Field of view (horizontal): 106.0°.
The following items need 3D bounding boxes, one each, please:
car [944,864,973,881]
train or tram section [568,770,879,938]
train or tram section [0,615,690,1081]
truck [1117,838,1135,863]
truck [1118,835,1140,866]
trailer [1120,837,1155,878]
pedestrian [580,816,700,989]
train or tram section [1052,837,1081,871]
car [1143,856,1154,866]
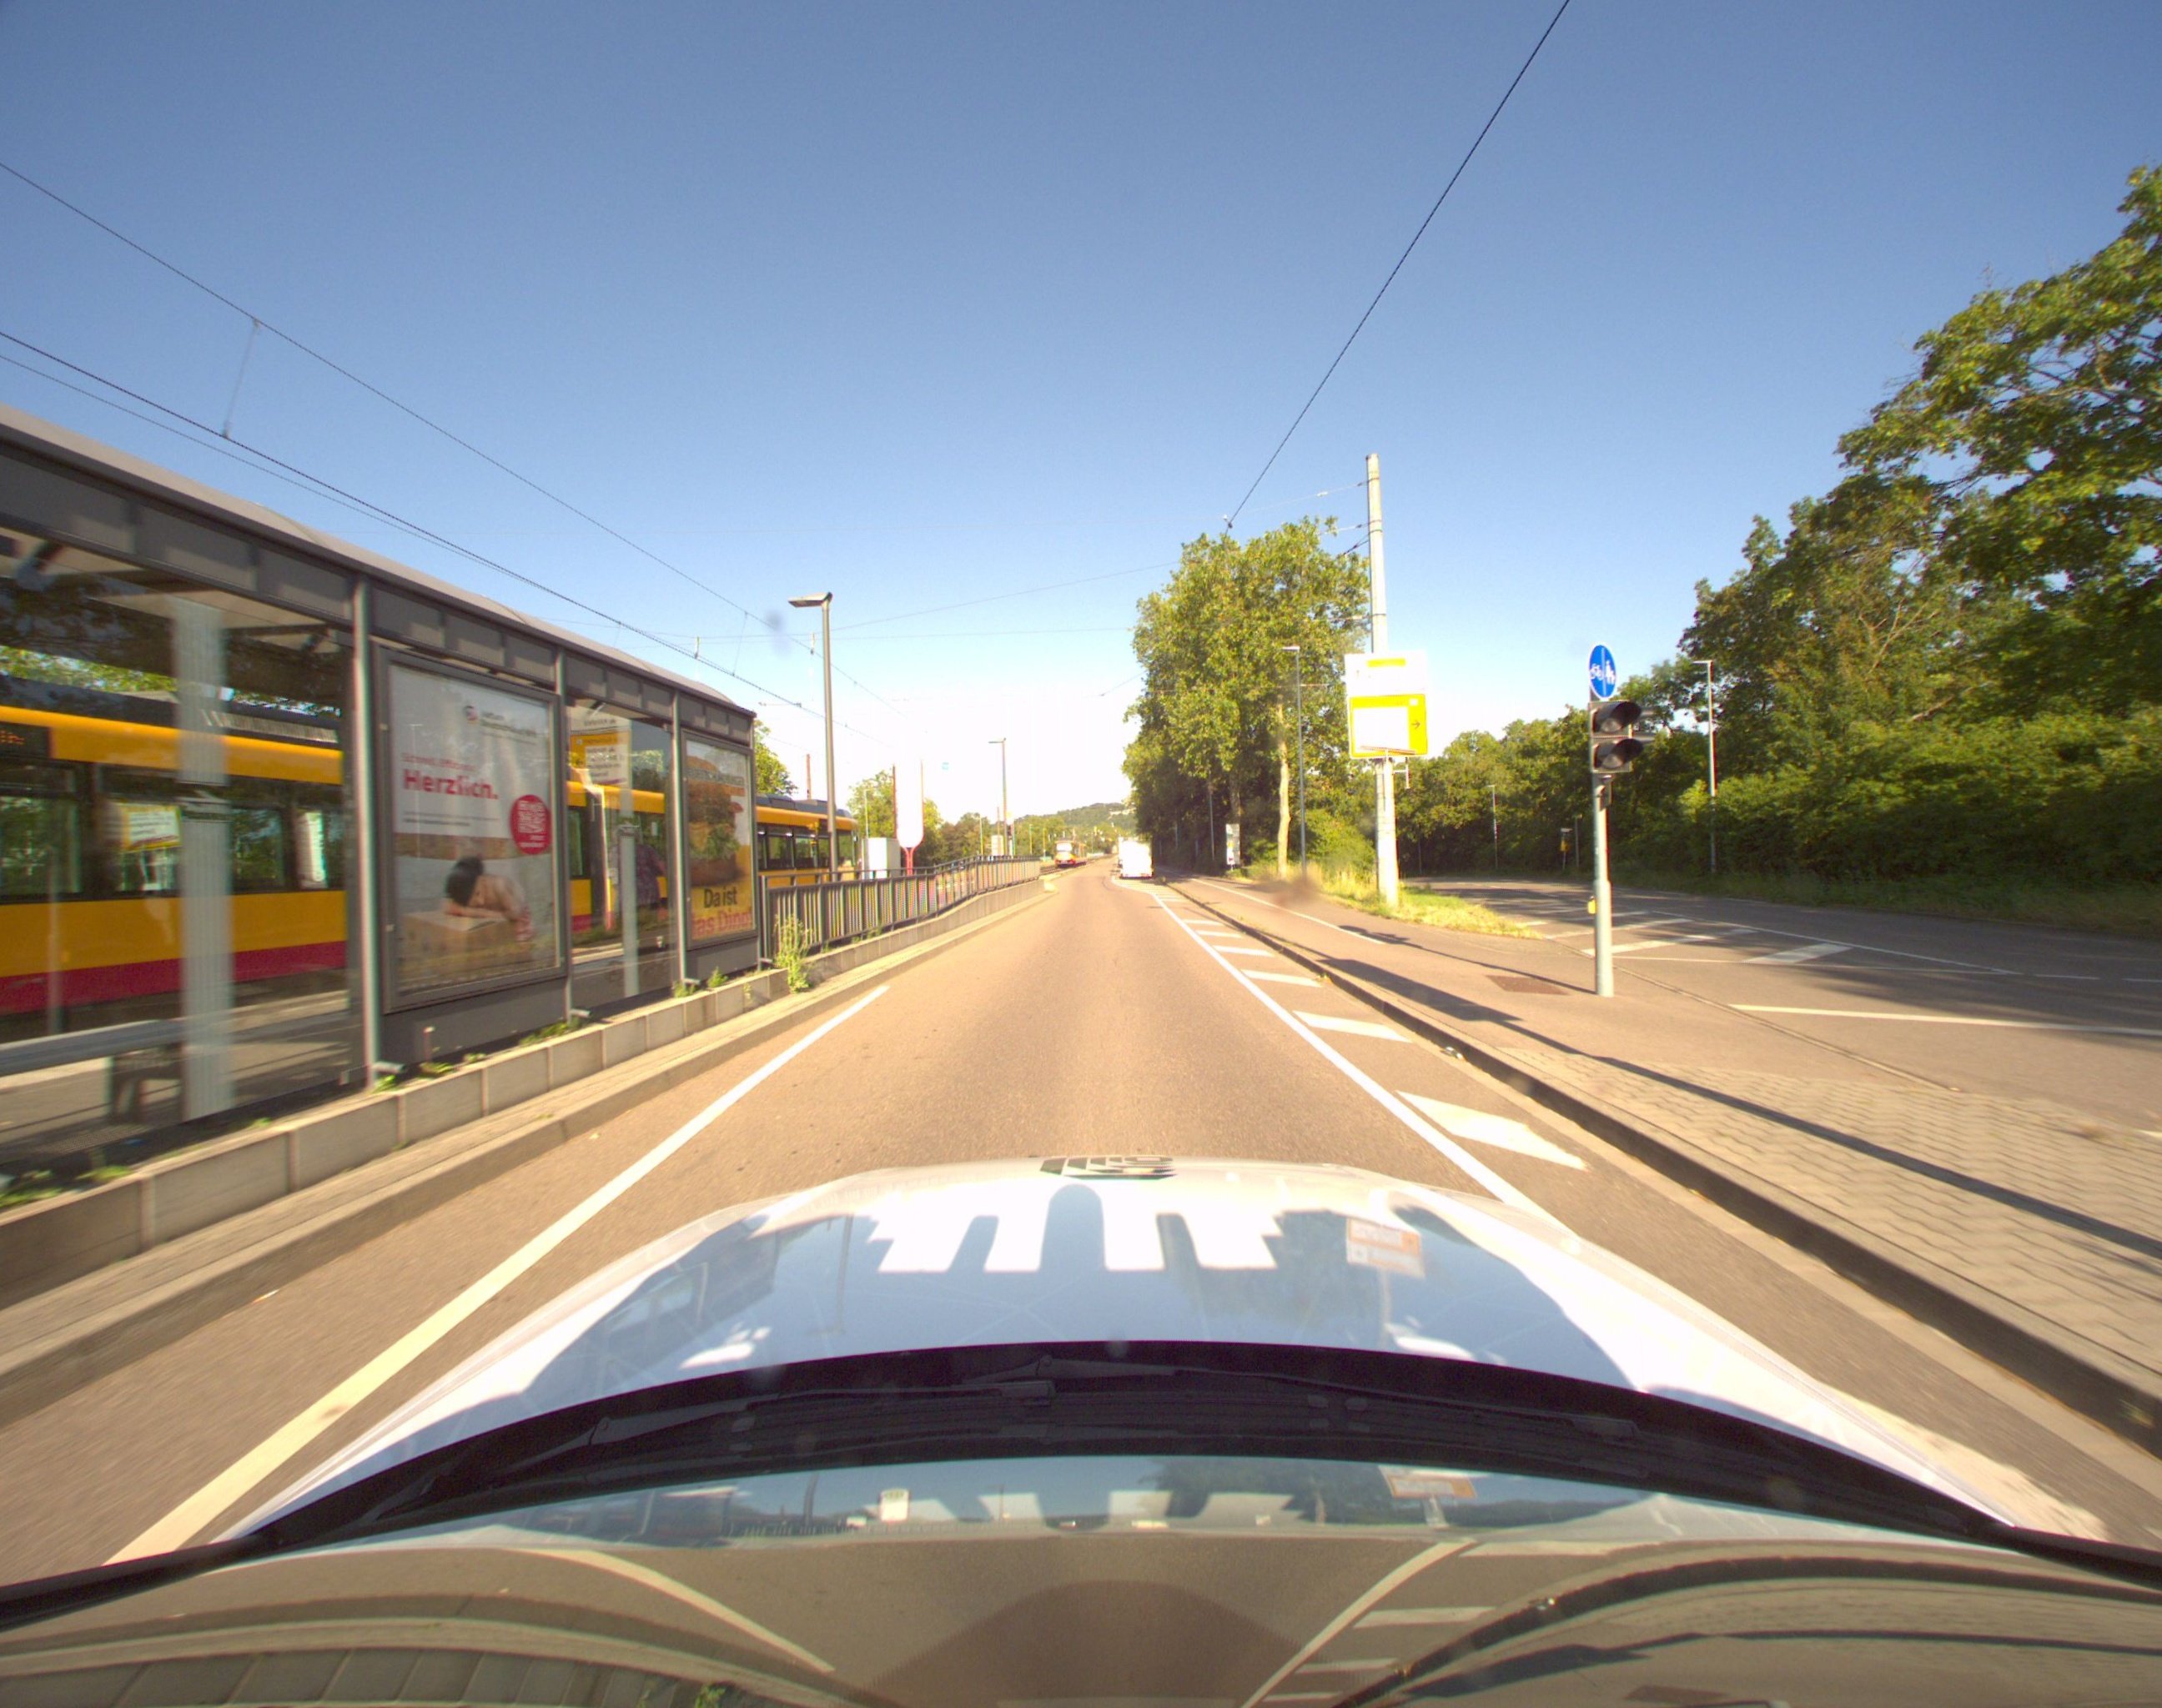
[{"bbox_3d":[-12.207,1.860,81.290,1.985,1.561,4.547,-1,0,3],"label":"car"},{"bbox_3d":[-9.532,0.039,24.484,2.815,3.687,12.981,-1,0,4],"label":"train or tram section"},{"bbox_3d":[-10.514,-0.028,10.008,2.815,4.006,15.890,-1,0,4],"label":"train or tram section"},{"bbox_3d":[6.834,-0.523,124.910,2.706,3.783,9.767,0,0,2],"label":"truck"},{"bbox_3d":[6.174,-0.467,105.877,2.731,3.783,10.095,0,0,2],"label":"truck"},{"bbox_3d":[4.052,0.257,57.973,2.240,2.694,5.956,-1,0,6],"label":"trailer"},{"bbox_3d":[-4.061,0.420,7.507,0.752,1.493,0.699,-1,-1,36],"label":"pedestrian"},{"bbox_3d":[-1.756,-0.021,106.954,2.710,4.091,13.626,-3,0,3],"label":"train or tram section"},{"bbox_3d":[10.438,1.102,126.907,1.645,1.437,3.781,-2,0,4],"label":"car"}]
